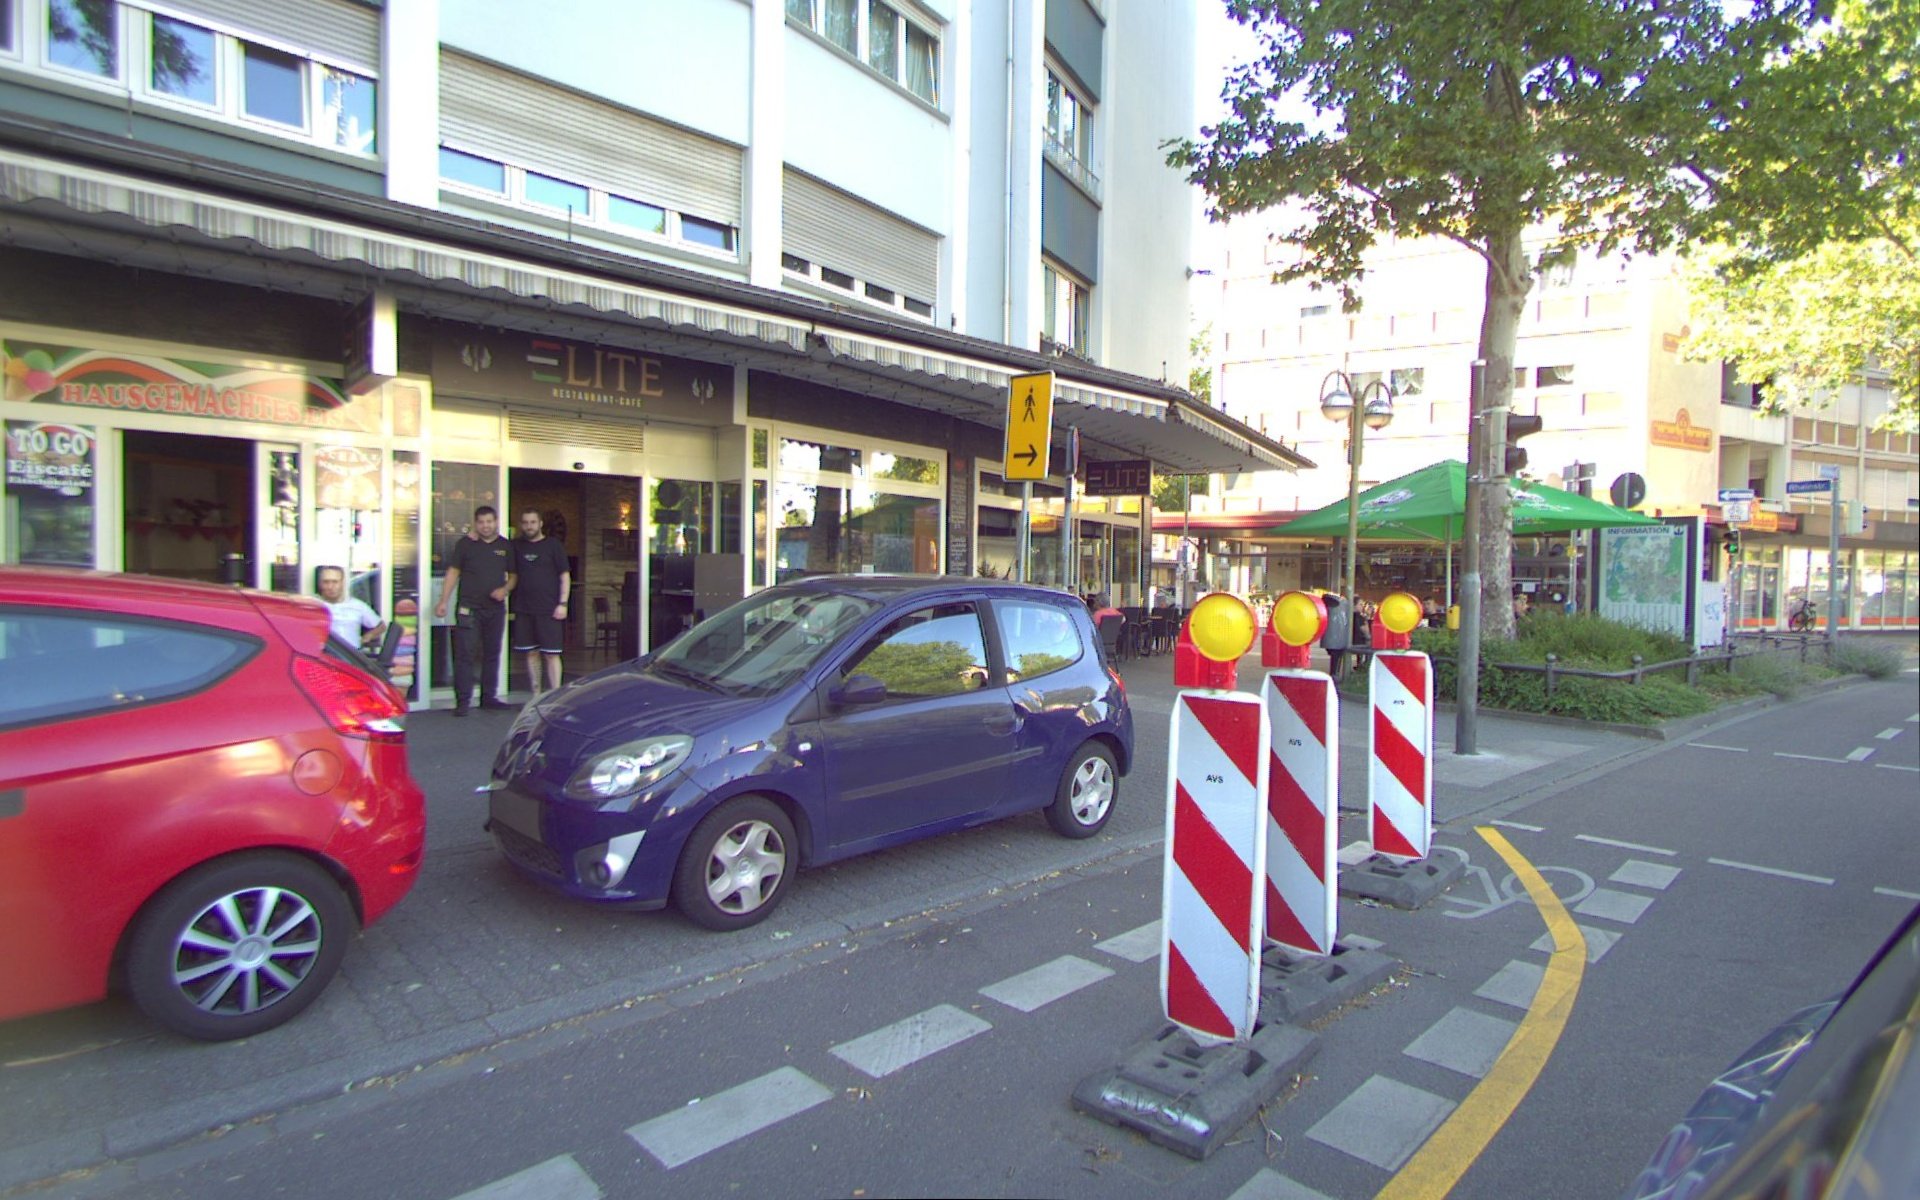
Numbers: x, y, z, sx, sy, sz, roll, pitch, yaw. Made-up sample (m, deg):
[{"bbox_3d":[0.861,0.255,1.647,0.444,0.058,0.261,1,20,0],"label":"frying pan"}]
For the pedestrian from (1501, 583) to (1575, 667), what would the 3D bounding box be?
[{"bbox_3d":[9.263,0.380,16.225,0.753,1.301,0.720,0,1,-28],"label":"pedestrian"}]

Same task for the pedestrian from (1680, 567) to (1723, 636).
[{"bbox_3d":[19.742,0.028,26.947,0.887,1.779,0.748,0,1,-44],"label":"pedestrian"}]

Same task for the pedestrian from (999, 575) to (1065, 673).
[{"bbox_3d":[0.987,0.311,13.753,0.644,1.267,0.711,3,1,25],"label":"pedestrian"}]

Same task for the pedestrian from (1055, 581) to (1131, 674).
[{"bbox_3d":[1.851,0.364,14.028,0.838,1.213,0.644,3,1,27],"label":"pedestrian"}]

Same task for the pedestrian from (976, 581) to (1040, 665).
[{"bbox_3d":[0.698,0.318,14.657,0.710,1.144,0.645,3,1,25],"label":"pedestrian"}]

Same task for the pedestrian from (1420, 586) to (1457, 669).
[{"bbox_3d":[7.450,0.417,15.772,0.427,1.234,0.465,3,2,20],"label":"pedestrian"}]

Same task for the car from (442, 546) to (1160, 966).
[{"bbox_3d":[-0.647,0.529,5.498,3.545,1.484,1.621,0,4,-44],"label":"car"}]

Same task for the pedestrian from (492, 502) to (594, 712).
[{"bbox_3d":[-3.705,0.041,8.993,0.635,1.780,0.612,1,3,-39],"label":"pedestrian"}]

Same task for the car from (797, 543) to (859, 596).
[{"bbox_3d":[-4.657,-1.072,36.166,1.960,1.771,4.004,1,1,-5],"label":"car"}]

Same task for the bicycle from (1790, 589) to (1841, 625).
[{"bbox_3d":[28.119,0.217,33.256,1.933,1.157,0.530,0,1,-26],"label":"bicycle"}]

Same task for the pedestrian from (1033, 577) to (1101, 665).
[{"bbox_3d":[1.582,0.295,14.918,0.664,1.233,0.706,3,1,43],"label":"pedestrian"}]

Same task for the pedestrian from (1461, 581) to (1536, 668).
[{"bbox_3d":[8.413,0.370,15.822,0.752,1.301,0.721,0,1,-27],"label":"pedestrian"}]

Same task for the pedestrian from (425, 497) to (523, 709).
[{"bbox_3d":[-4.227,0.010,8.795,0.587,1.756,0.589,1,3,-40],"label":"pedestrian"}]

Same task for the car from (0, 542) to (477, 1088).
[{"bbox_3d":[-3.648,0.561,2.852,1.667,1.446,3.786,5,4,44],"label":"car"}]

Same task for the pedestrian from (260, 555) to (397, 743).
[{"bbox_3d":[-4.828,0.318,7.712,0.765,1.247,1.207,-1,5,-38],"label":"pedestrian"}]

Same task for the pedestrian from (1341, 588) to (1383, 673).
[{"bbox_3d":[5.944,0.449,14.993,0.460,1.235,0.432,1,0,5],"label":"pedestrian"}]

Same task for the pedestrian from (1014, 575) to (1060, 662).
[{"bbox_3d":[1.161,0.271,15.279,0.541,1.259,0.521,2,1,-7],"label":"pedestrian"}]
